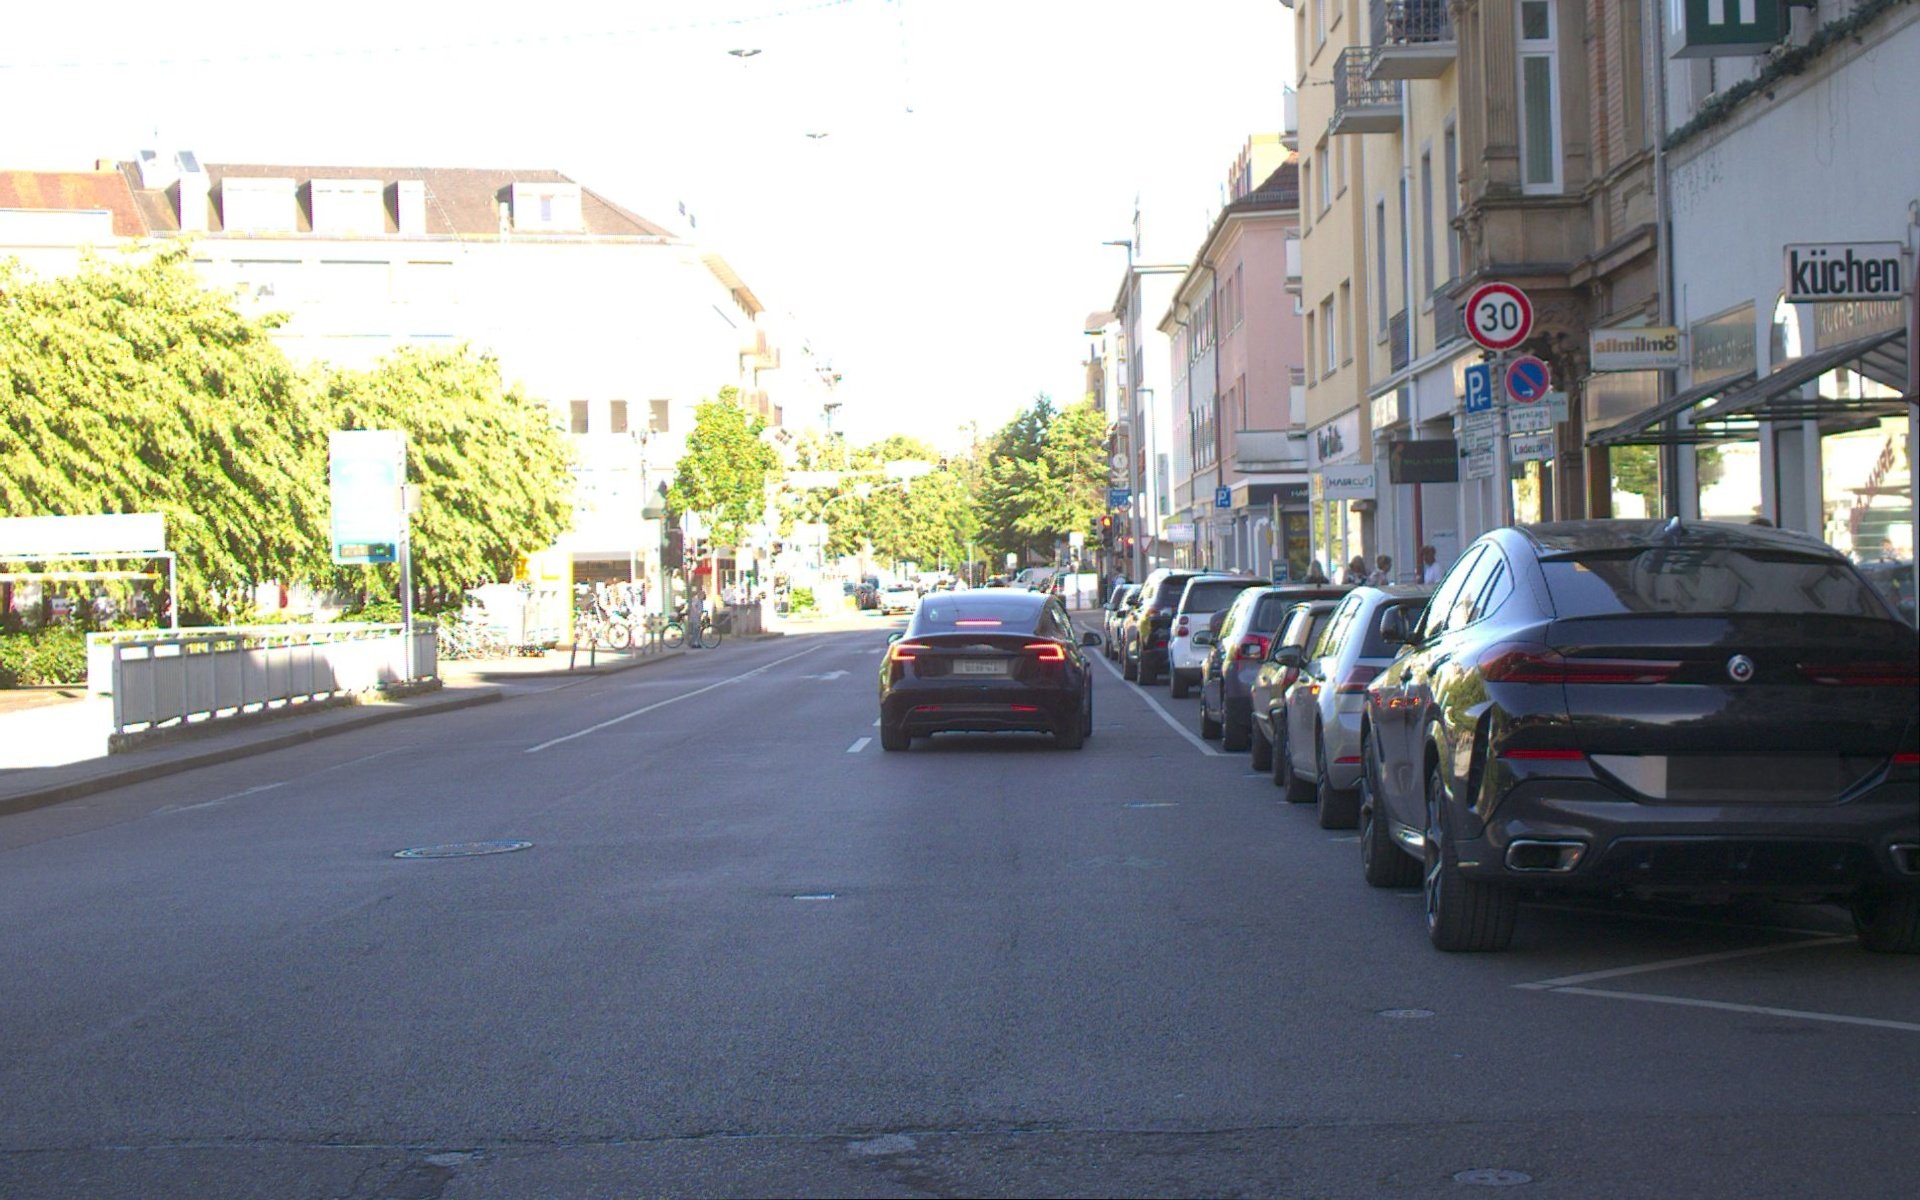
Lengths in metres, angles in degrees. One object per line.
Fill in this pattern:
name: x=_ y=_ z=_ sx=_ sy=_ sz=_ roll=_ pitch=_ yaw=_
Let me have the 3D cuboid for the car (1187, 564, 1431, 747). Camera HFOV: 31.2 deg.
car: x=3.148 y=0.456 z=31.798 sx=1.839 sy=1.541 sz=4.228 roll=0 pitch=1 yaw=0

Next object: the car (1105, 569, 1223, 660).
car: x=3.339 y=0.238 z=56.930 sx=1.792 sy=1.455 sz=4.084 roll=0 pitch=0 yaw=1

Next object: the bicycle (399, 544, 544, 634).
bicycle: x=-11.175 y=-0.255 z=78.609 sx=3.122 sy=2.007 sz=0.908 roll=-1 pitch=1 yaw=10

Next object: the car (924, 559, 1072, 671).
car: x=0.583 y=0.180 z=48.830 sx=1.935 sy=1.482 sz=4.271 roll=-1 pitch=1 yaw=3

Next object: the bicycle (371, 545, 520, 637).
bicycle: x=-11.464 y=-0.204 z=76.668 sx=3.122 sy=2.007 sz=0.908 roll=-1 pitch=1 yaw=10

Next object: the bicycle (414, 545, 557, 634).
bicycle: x=-10.989 y=-0.254 z=79.651 sx=3.122 sy=2.007 sz=0.908 roll=-1 pitch=1 yaw=10

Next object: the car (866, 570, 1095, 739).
car: x=0.172 y=0.482 z=32.273 sx=1.995 sy=1.475 sz=4.495 roll=0 pitch=0 yaw=0

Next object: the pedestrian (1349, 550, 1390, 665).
pedestrian: x=5.867 y=0.100 z=49.269 sx=0.471 sy=1.630 sz=0.513 roll=-1 pitch=1 yaw=17

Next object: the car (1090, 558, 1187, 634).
car: x=3.499 y=-0.066 z=67.895 sx=1.792 sy=1.455 sz=3.868 roll=0 pitch=0 yaw=1

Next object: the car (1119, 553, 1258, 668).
car: x=3.321 y=0.159 z=50.651 sx=1.716 sy=1.630 sz=4.084 roll=0 pitch=0 yaw=-1

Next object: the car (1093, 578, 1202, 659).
car: x=3.441 y=0.336 z=63.590 sx=1.792 sy=1.455 sz=3.868 roll=0 pitch=0 yaw=0

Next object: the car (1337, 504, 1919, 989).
car: x=2.816 y=0.472 z=14.605 sx=1.973 sy=1.719 sz=4.824 roll=0 pitch=1 yaw=1

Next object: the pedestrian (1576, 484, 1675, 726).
pedestrian: x=4.924 y=0.037 z=25.461 sx=0.620 sy=1.760 sz=0.518 roll=-1 pitch=0 yaw=4

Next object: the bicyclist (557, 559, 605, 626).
bicyclist: x=-9.753 y=-0.198 z=88.461 sx=1.146 sy=1.680 sz=0.919 roll=-1 pitch=1 yaw=-2

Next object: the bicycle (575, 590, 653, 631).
bicycle: x=-9.180 y=0.275 z=91.253 sx=2.011 sy=1.018 sz=0.762 roll=-1 pitch=1 yaw=-2

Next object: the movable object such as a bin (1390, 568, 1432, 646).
movable object such as a bin: x=6.194 y=0.090 z=47.233 sx=0.455 sy=1.048 sz=0.500 roll=-3 pitch=1 yaw=0

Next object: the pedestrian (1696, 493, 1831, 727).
pedestrian: x=5.925 y=0.067 z=25.381 sx=0.801 sy=1.669 sz=0.589 roll=-3 pitch=0 yaw=4

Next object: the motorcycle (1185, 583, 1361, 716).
motorcycle: x=3.297 y=0.509 z=36.110 sx=2.039 sy=1.323 sz=0.656 roll=-2 pitch=1 yaw=-44

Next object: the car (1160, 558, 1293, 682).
car: x=3.448 y=0.239 z=44.821 sx=1.613 sy=1.541 sz=2.855 roll=0 pitch=1 yaw=2

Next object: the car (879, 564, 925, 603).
car: x=-2.781 y=-0.803 z=166.015 sx=1.993 sy=1.766 sz=4.000 roll=0 pitch=1 yaw=2

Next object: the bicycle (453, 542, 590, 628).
bicycle: x=-10.564 y=-0.359 z=82.804 sx=3.122 sy=2.007 sz=0.908 roll=-1 pitch=1 yaw=10

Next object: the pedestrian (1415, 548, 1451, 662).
pedestrian: x=6.842 y=0.064 z=49.743 sx=0.470 sy=1.630 sz=0.513 roll=-1 pitch=1 yaw=6

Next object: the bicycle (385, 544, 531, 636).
bicycle: x=-11.332 y=-0.229 z=77.621 sx=3.122 sy=2.007 sz=0.908 roll=-1 pitch=1 yaw=10

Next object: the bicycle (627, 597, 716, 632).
bicycle: x=-7.795 y=0.397 z=92.947 sx=2.244 sy=0.880 sz=0.923 roll=-1 pitch=1 yaw=5

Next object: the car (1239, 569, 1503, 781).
car: x=3.048 y=0.511 z=26.124 sx=1.608 sy=1.444 sz=3.830 roll=0 pitch=1 yaw=1

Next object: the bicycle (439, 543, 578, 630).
bicycle: x=-10.739 y=-0.320 z=81.765 sx=3.122 sy=2.007 sz=0.908 roll=-1 pitch=1 yaw=10

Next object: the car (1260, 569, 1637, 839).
car: x=2.951 y=0.570 z=21.584 sx=1.839 sy=1.482 sz=4.184 roll=0 pitch=1 yaw=1

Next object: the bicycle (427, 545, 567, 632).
bicycle: x=-10.870 y=-0.275 z=80.731 sx=3.122 sy=2.007 sz=0.908 roll=-1 pitch=1 yaw=10

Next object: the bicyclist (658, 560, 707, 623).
bicyclist: x=-7.499 y=-0.237 z=92.914 sx=1.146 sy=1.680 sz=0.914 roll=-1 pitch=1 yaw=4

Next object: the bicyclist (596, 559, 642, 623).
bicyclist: x=-9.039 y=-0.251 z=91.256 sx=1.146 sy=1.680 sz=0.819 roll=-1 pitch=1 yaw=-2

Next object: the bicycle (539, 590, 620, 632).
bicycle: x=-9.786 y=0.276 z=88.459 sx=2.011 sy=1.018 sz=0.888 roll=-1 pitch=1 yaw=-2
